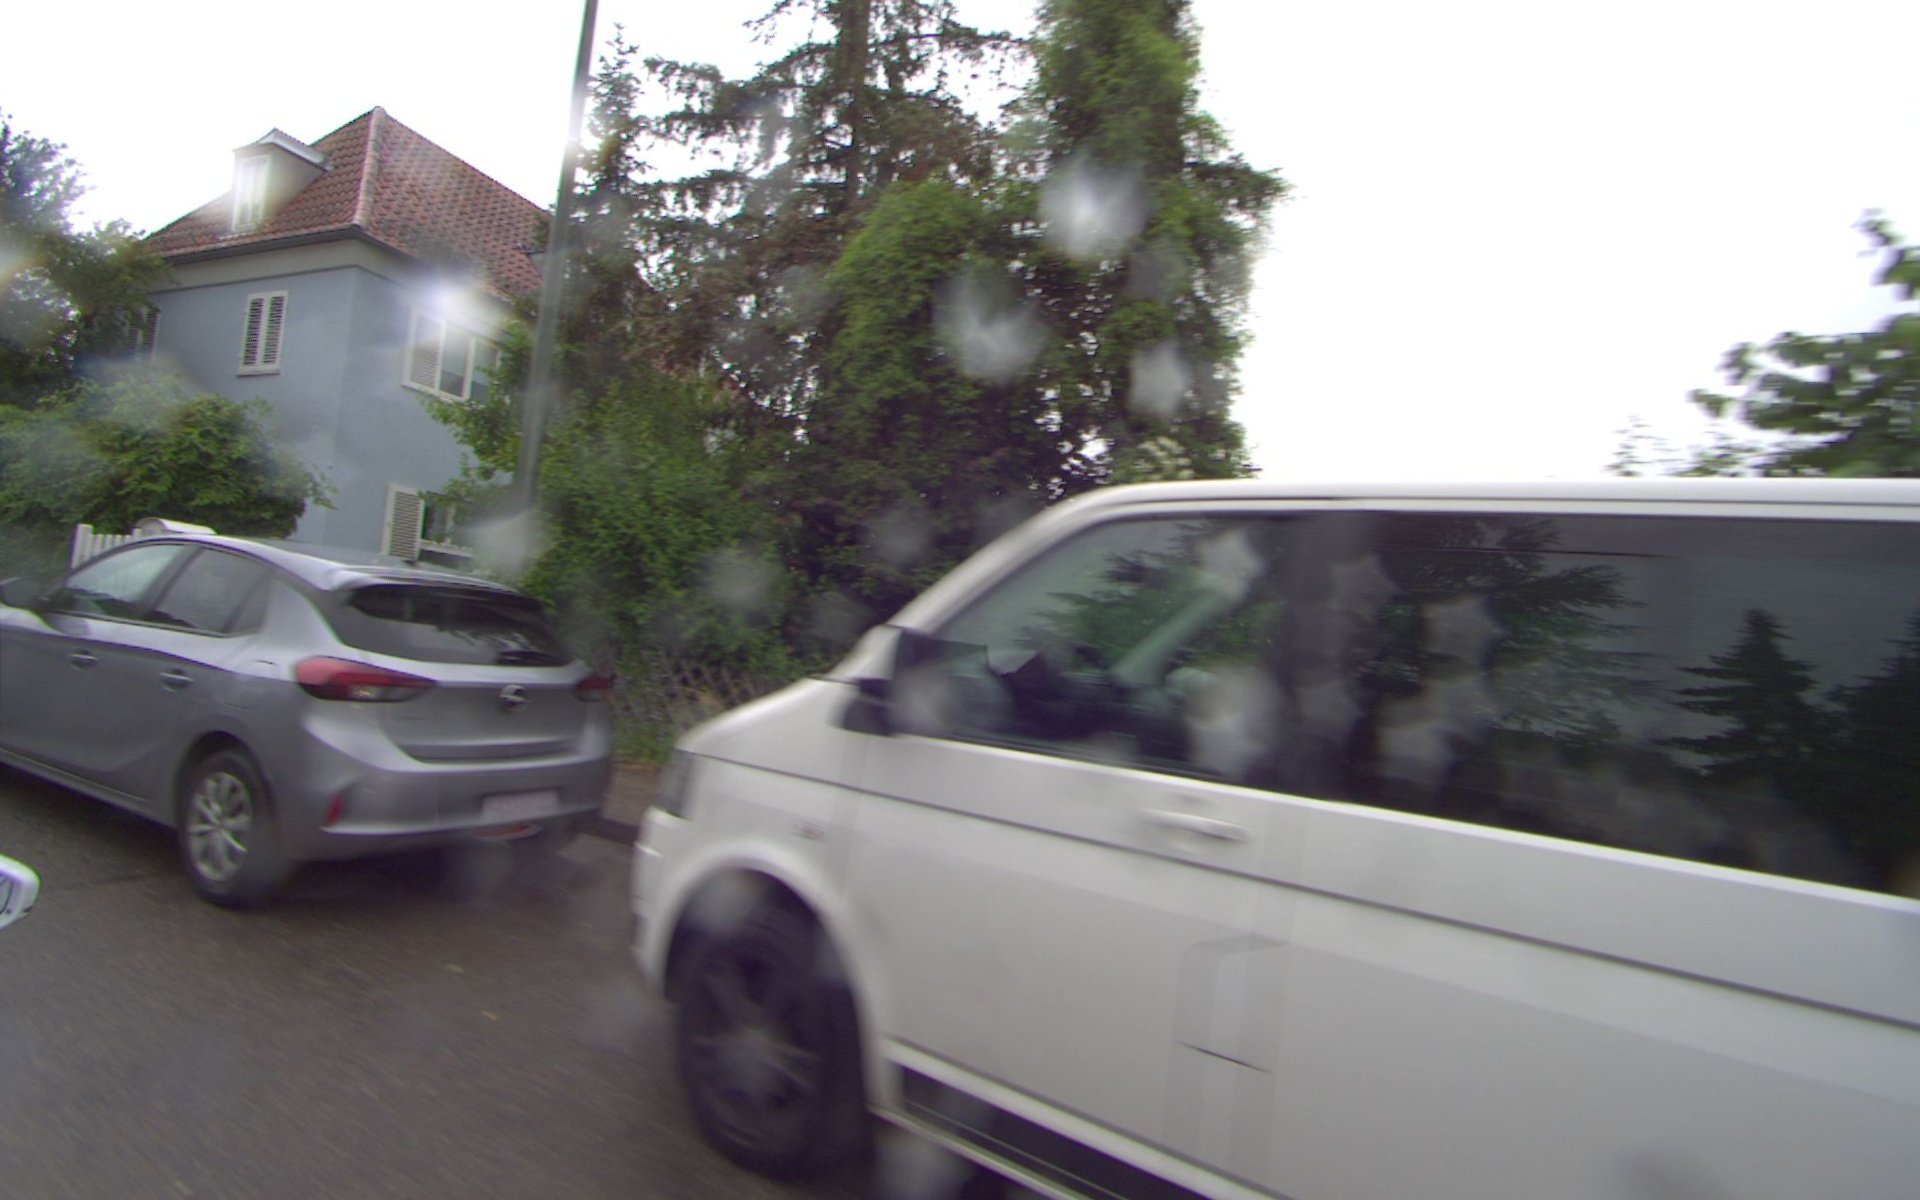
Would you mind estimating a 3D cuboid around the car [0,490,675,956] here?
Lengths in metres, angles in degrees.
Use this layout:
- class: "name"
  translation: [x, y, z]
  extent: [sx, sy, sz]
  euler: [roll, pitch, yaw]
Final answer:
- class: "car"
  translation: [-3.662, 0.375, 5.206]
  extent: [3.986, 1.473, 1.691]
  euler: [7, -2, 27]

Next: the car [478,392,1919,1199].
- class: "car"
  translation: [1.158, 0.702, 2.587]
  extent: [4.997, 1.943, 1.863]
  euler: [7, -2, 34]
